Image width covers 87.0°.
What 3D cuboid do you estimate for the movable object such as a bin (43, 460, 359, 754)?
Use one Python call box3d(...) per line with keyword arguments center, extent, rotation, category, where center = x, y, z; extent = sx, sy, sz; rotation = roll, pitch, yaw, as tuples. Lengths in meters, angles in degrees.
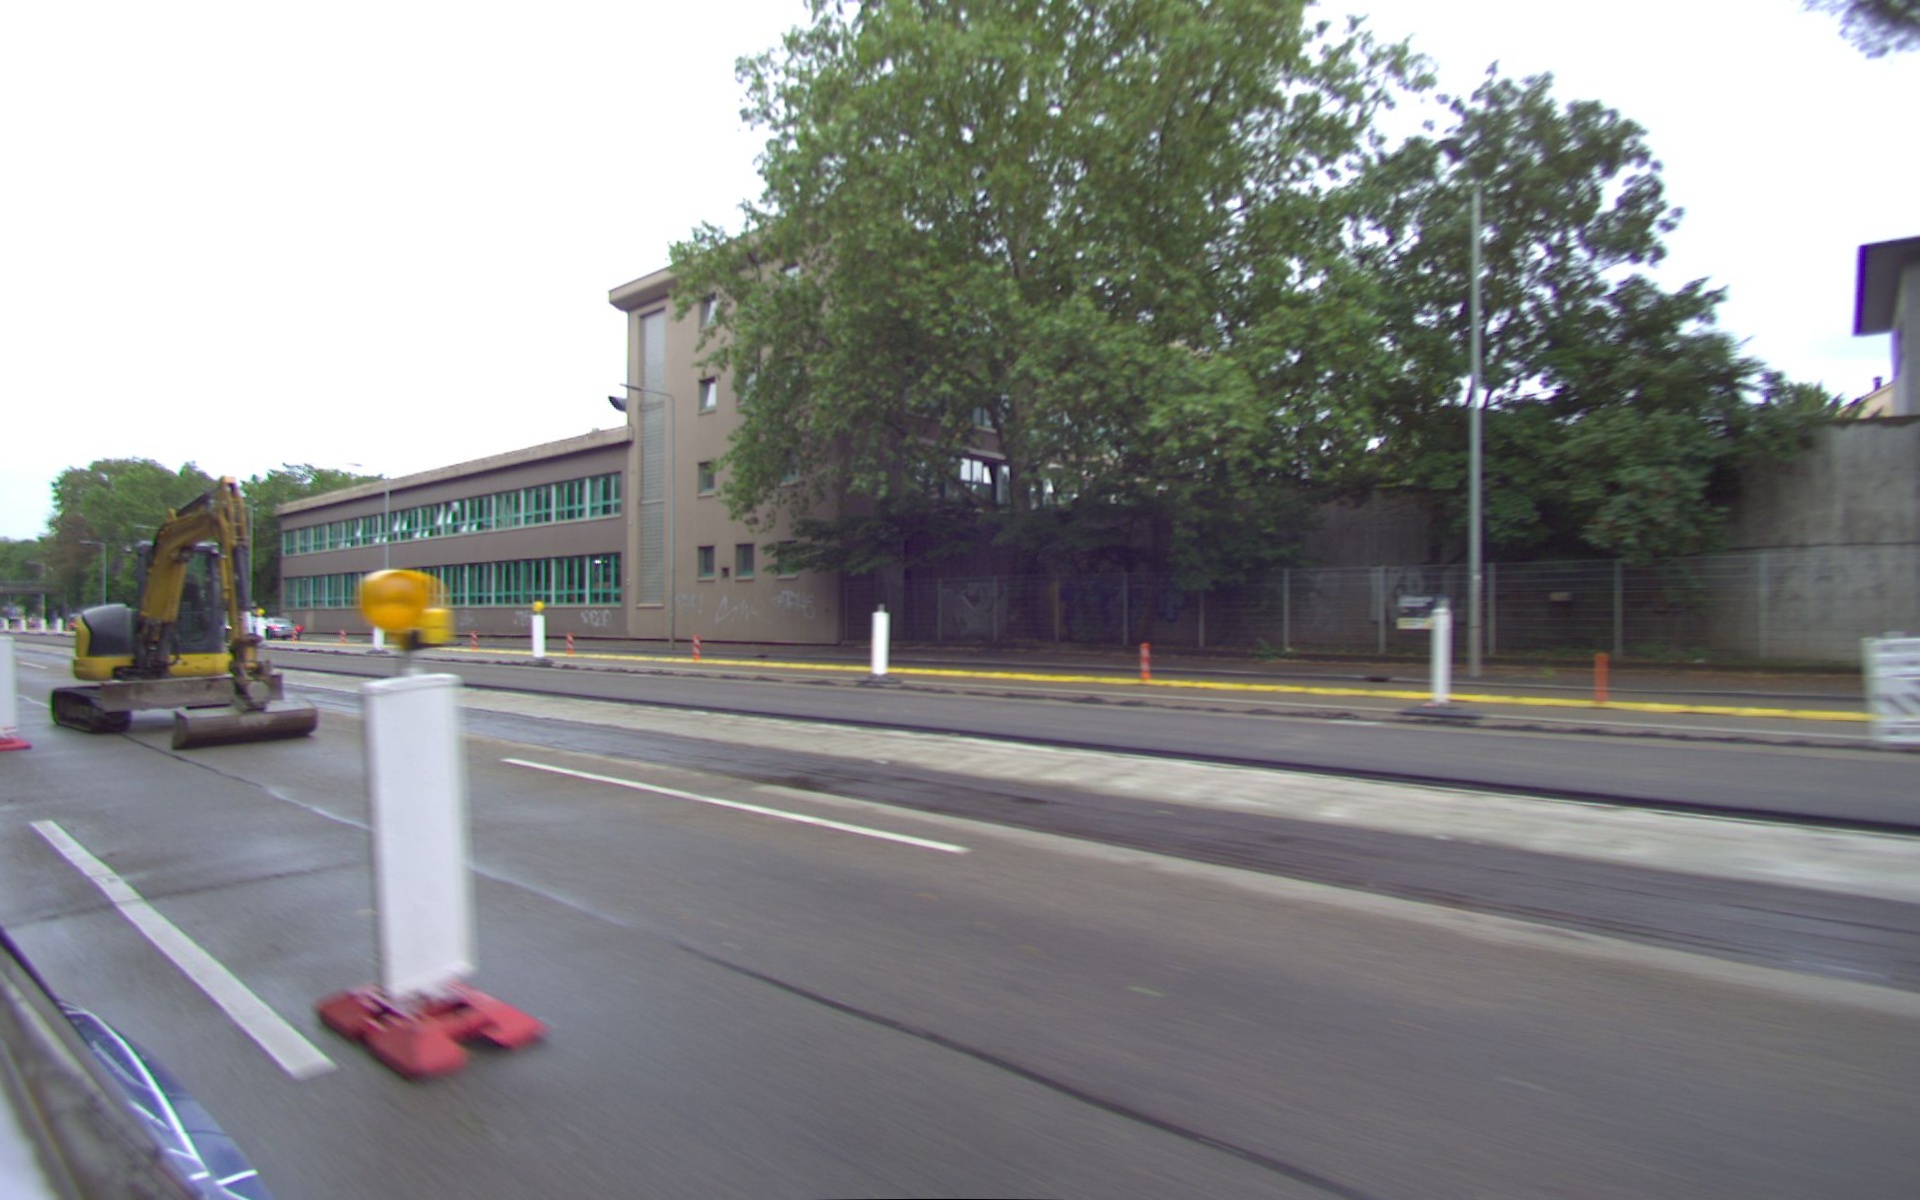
box3d(center=(-10.110, 0.121, 13.275), extent=(5.617, 3.125, 1.974), rotation=(-1, -1, 39), category="movable object such as a bin")
